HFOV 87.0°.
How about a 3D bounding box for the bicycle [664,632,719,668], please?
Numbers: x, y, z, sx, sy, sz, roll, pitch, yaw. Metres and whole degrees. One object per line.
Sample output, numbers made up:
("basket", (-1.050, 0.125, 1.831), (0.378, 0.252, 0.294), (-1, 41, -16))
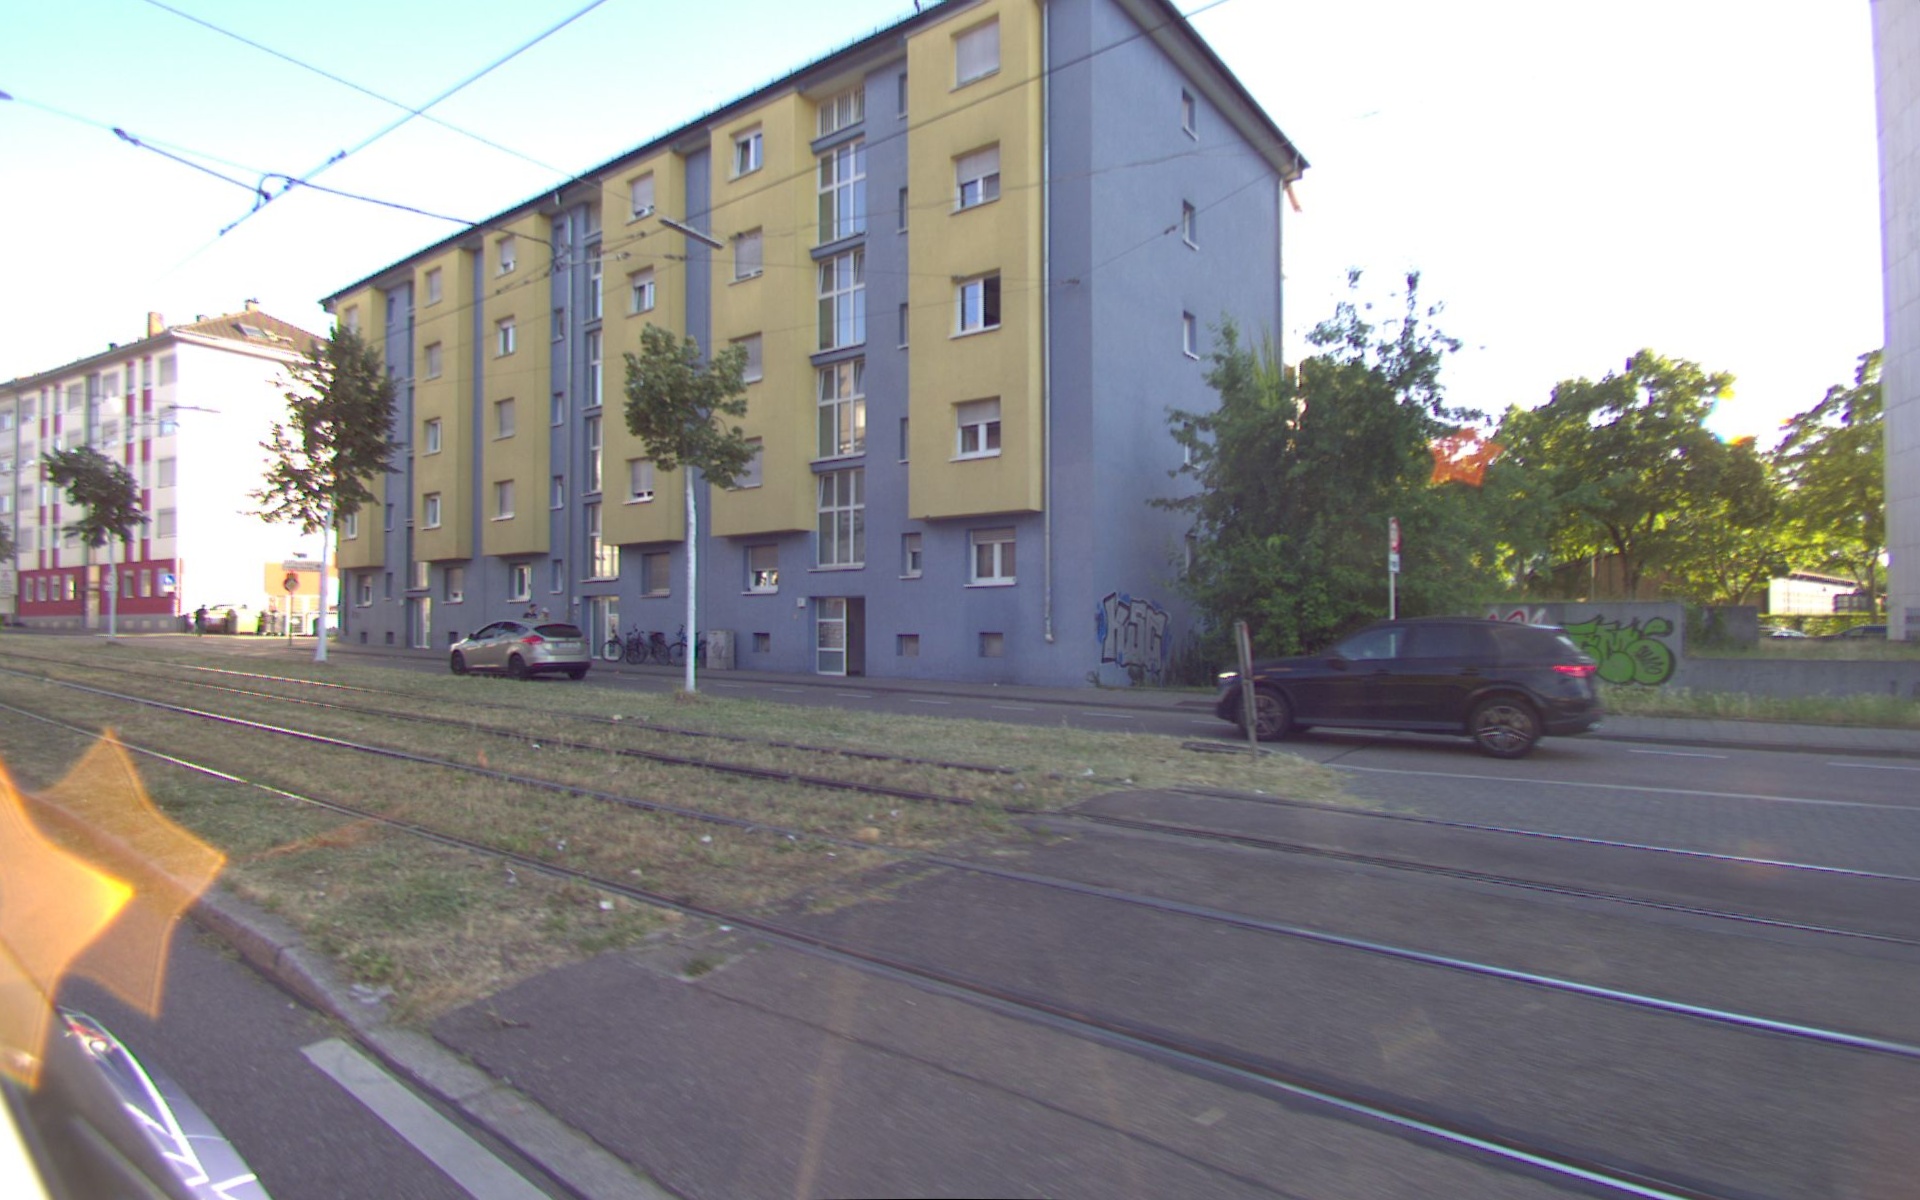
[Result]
("bicycle", (-7.630, 1.402, 28.697), (1.908, 0.967, 0.423), (-1, -2, 37))

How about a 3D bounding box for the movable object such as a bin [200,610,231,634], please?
("movable object such as a bin", (-40.748, 1.198, 55.397), (0.803, 1.296, 1.149), (0, -1, 31))

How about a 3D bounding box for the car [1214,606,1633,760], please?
("car", (5.900, 0.990, 13.156), (4.696, 1.674, 1.902), (-2, -3, 34))

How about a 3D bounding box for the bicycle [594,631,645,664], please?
("bicycle", (-10.279, 1.412, 30.499), (1.908, 0.932, 0.423), (-1, 2, 37))

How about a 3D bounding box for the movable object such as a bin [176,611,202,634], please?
("movable object such as a bin", (-41.367, 1.191, 54.276), (0.803, 1.235, 0.860), (0, -1, 31))

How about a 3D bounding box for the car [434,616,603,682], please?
("car", (-10.862, 1.161, 24.817), (4.303, 1.471, 1.684), (0, -3, 33))

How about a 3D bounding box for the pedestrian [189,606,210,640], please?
("pedestrian", (-38.761, 1.173, 51.586), (0.788, 1.702, 0.609), (-1, -1, 30))

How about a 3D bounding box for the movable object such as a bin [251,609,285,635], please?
("movable object such as a bin", (-38.366, 1.210, 56.137), (1.104, 1.426, 1.208), (0, -1, 31))

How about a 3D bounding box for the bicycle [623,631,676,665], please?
("bicycle", (-9.176, 1.393, 29.859), (1.908, 0.932, 0.423), (-1, 2, 37))

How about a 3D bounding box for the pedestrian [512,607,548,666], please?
("pedestrian", (-13.557, 1.135, 31.886), (0.883, 1.786, 0.588), (-1, 2, 35))

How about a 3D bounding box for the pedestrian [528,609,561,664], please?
("pedestrian", (-13.386, 1.155, 32.599), (0.705, 1.707, 0.611), (-1, 3, 35))

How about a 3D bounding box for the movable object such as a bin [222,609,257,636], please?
("movable object such as a bin", (-39.111, 1.201, 54.955), (1.134, 1.426, 1.208), (0, -1, 31))

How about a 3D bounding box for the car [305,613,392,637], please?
("car", (-34.389, 1.379, 56.983), (1.696, 1.303, 3.832), (-1, -1, 32))
